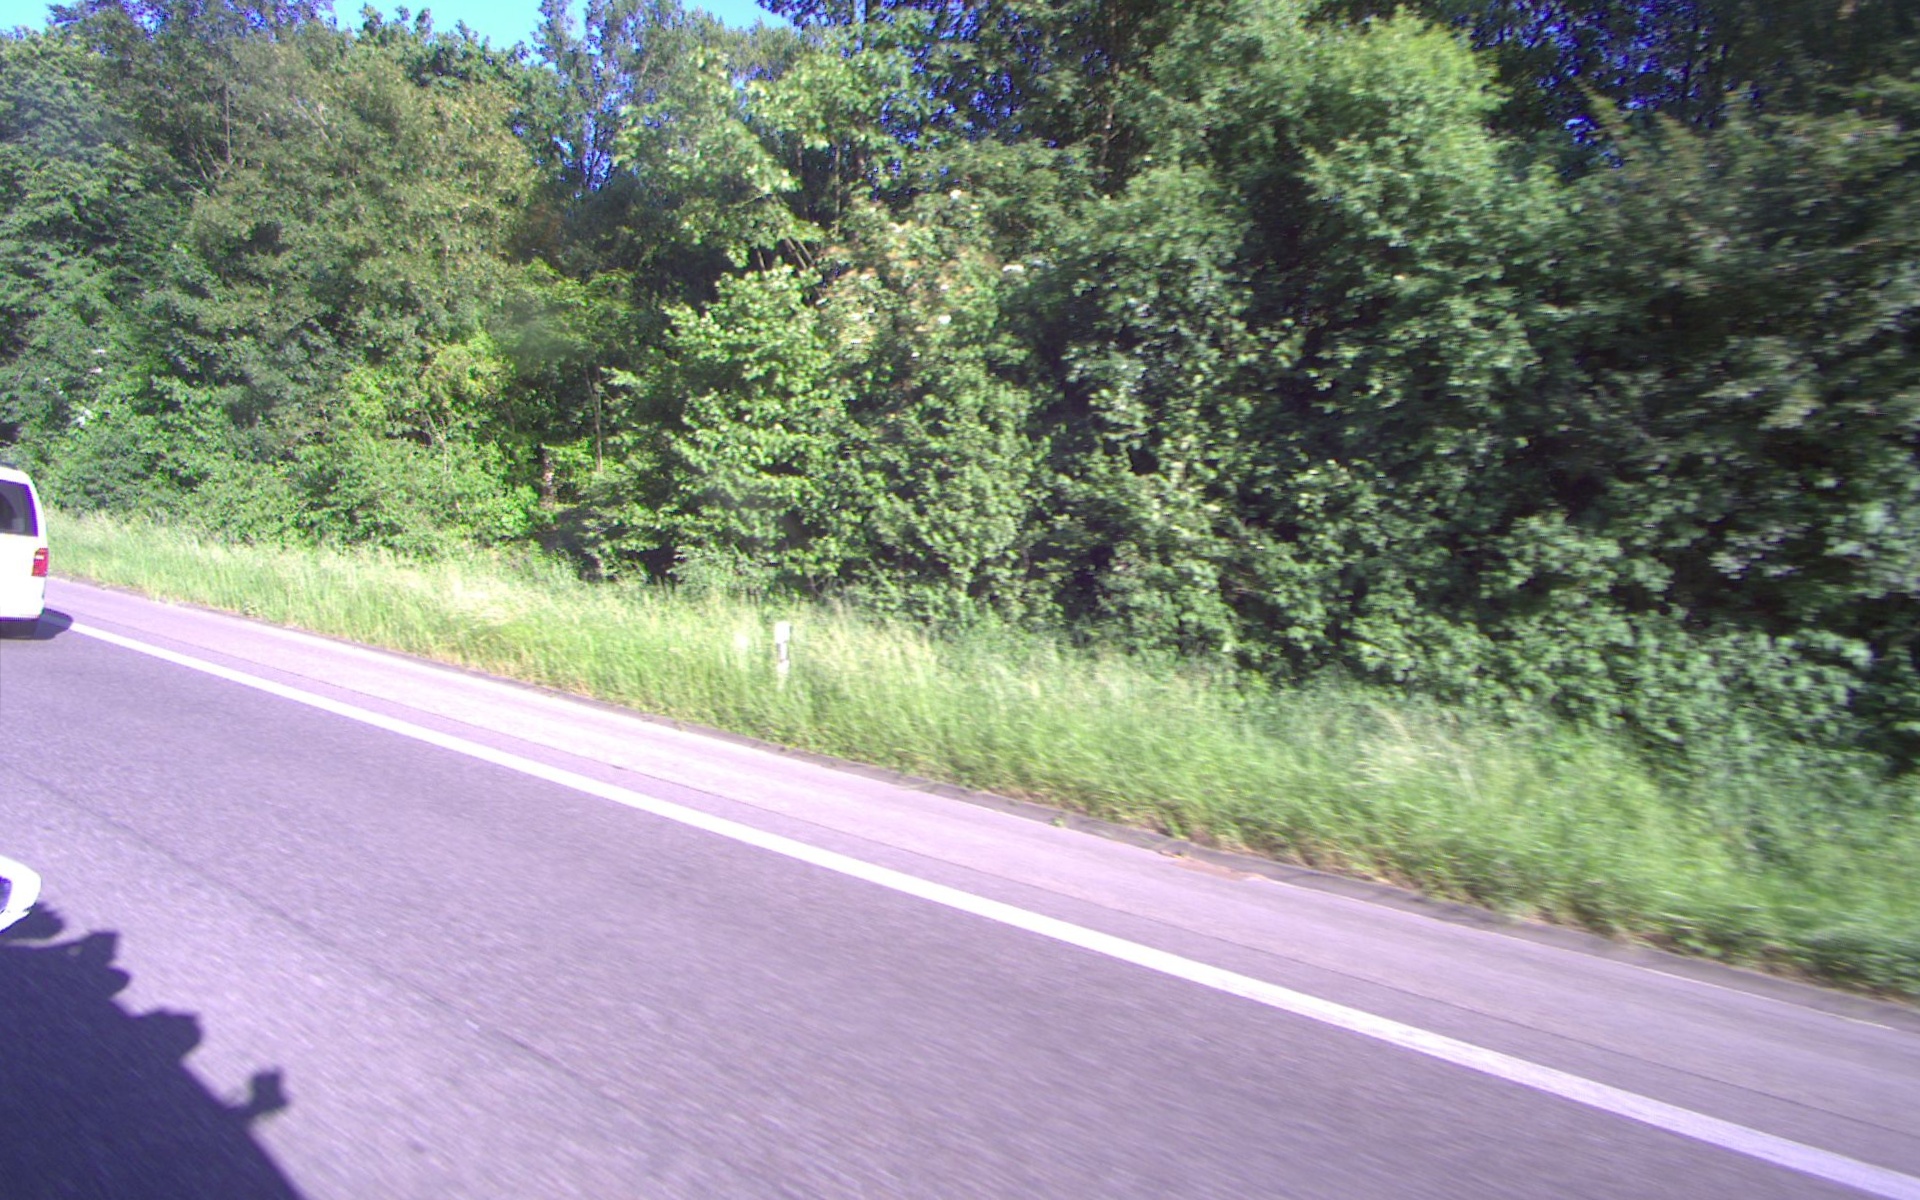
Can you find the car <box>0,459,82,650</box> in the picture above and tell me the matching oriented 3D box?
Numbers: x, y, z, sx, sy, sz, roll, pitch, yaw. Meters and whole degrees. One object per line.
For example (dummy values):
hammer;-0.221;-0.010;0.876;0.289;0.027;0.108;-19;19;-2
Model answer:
car;-11.541;-0.690;10.793;4.512;1.834;1.802;6;-2;32
